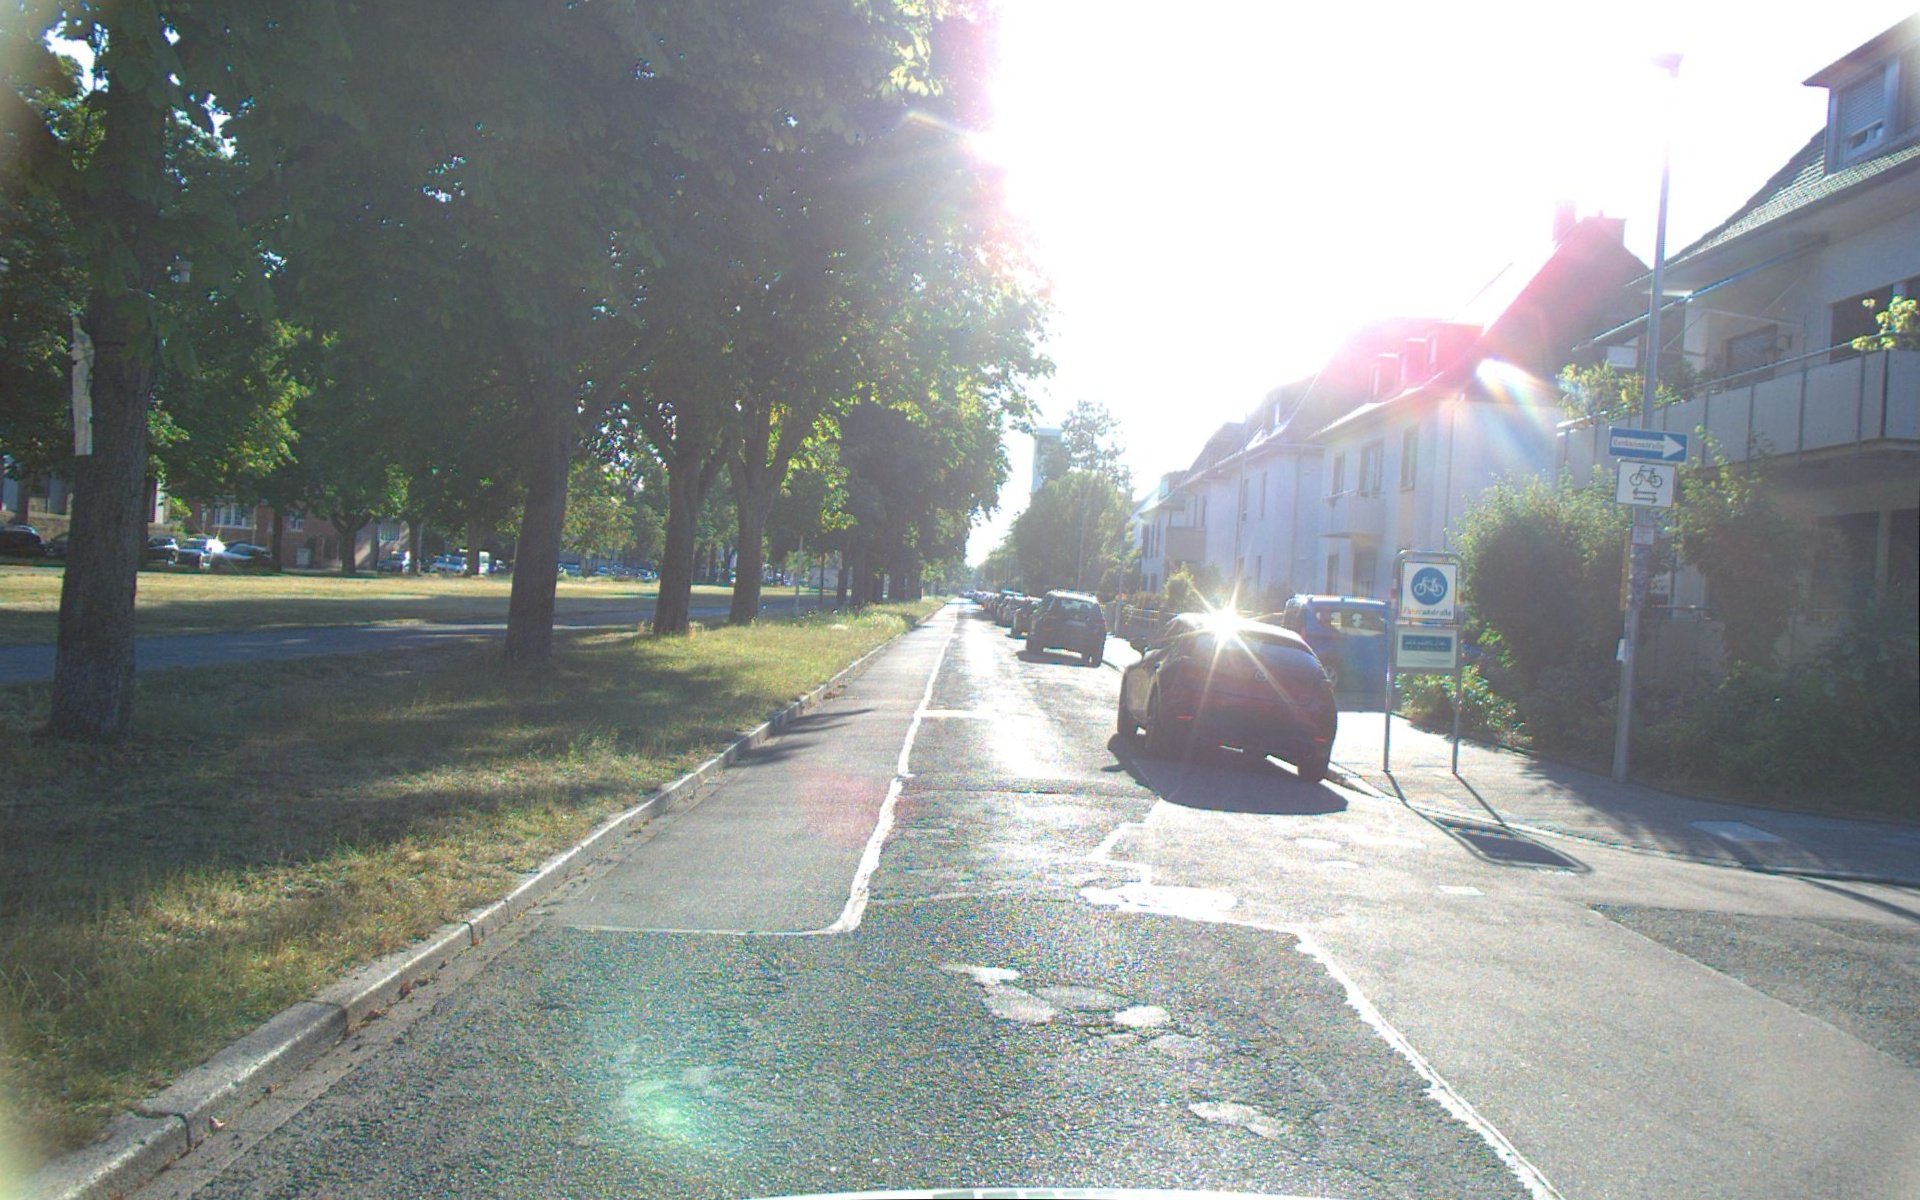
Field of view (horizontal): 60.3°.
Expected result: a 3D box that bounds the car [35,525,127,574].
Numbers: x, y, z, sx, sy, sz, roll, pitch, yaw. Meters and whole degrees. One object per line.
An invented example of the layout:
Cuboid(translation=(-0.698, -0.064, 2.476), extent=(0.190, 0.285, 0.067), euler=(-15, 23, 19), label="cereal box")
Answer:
Cuboid(translation=(-38.760, -2.197, 73.042), extent=(1.827, 1.833, 3.915), euler=(6, -1, 0), label="car")

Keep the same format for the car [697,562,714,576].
Cuboid(translation=(-39.145, -4.731, 254.369), extent=(1.953, 2.048, 4.000), euler=(4, 0, 0), label="car")

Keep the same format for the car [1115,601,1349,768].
Cuboid(translation=(2.739, 0.810, 17.536), extent=(1.675, 1.382, 4.202), euler=(6, -1, 0), label="car")

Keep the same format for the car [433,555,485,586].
Cuboid(translation=(-32.686, -1.894, 107.921), extent=(1.982, 1.687, 3.984), euler=(6, -1, 0), label="car")

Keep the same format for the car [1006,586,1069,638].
Cuboid(translation=(2.816, 0.440, 60.869), extent=(1.953, 1.682, 3.999), euler=(4, -1, -1), label="car")

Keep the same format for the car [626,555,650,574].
Cuboid(translation=(-39.068, -4.266, 200.511), extent=(1.954, 1.946, 3.999), euler=(6, -1, 0), label="car")

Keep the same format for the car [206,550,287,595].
Cuboid(translation=(-33.256, -1.273, 77.219), extent=(1.775, 1.811, 4.122), euler=(6, -1, 1), label="car")

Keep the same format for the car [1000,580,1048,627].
Cuboid(translation=(3.086, 0.195, 81.078), extent=(1.954, 2.048, 3.999), euler=(6, -1, -1), label="car")

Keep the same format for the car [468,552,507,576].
Cuboid(translation=(-39.089, -2.955, 136.903), extent=(1.954, 1.645, 3.998), euler=(6, -1, -2), label="car")

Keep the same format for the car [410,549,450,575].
Cuboid(translation=(-38.834, -2.783, 121.265), extent=(1.607, 1.671, 3.853), euler=(6, -1, -2), label="car")

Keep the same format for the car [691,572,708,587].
Cuboid(translation=(-33.236, -2.618, 210.784), extent=(1.580, 1.564, 3.354), euler=(6, -2, -2), label="car")

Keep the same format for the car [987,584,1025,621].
Cuboid(translation=(2.768, 0.159, 100.963), extent=(1.954, 2.048, 3.999), euler=(6, -1, -1), label="car")

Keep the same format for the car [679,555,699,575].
Cuboid(translation=(-31.833, -4.069, 194.316), extent=(1.621, 1.971, 3.566), euler=(6, -2, -1), label="car")

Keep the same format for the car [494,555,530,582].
Cuboid(translation=(-34.437, -2.384, 127.234), extent=(1.694, 1.718, 3.877), euler=(6, -2, -2), label="car")

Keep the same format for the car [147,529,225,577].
Cuboid(translation=(-38.992, -2.341, 83.408), extent=(1.954, 2.048, 3.998), euler=(6, -1, -2), label="car")

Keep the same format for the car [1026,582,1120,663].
Cuboid(translation=(2.895, 0.545, 43.203), extent=(1.954, 1.812, 4.000), euler=(6, 1, -1), label="car")

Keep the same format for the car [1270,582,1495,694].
Cuboid(translation=(8.264, 0.779, 32.529), extent=(3.909, 1.854, 1.758), euler=(4, -6, -4), label="car")

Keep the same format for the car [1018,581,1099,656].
Cuboid(translation=(2.816, 0.528, 48.178), extent=(1.845, 1.891, 3.999), euler=(6, -1, -1), label="car")

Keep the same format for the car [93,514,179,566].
Cuboid(translation=(-38.684, -2.803, 77.749), extent=(1.954, 2.048, 3.998), euler=(6, -1, -2), label="car")

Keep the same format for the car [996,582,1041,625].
Cuboid(translation=(3.063, 0.197, 86.901), extent=(1.954, 2.048, 3.999), euler=(6, -1, -1), label="car")

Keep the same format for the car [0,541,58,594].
Cuboid(translation=(-33.305, -1.180, 57.027), extent=(1.842, 1.703, 4.315), euler=(6, -1, 1), label="car")

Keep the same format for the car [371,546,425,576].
Cuboid(translation=(-38.399, -2.680, 113.156), extent=(1.953, 1.687, 4.355), euler=(6, -1, 1), label="car")
